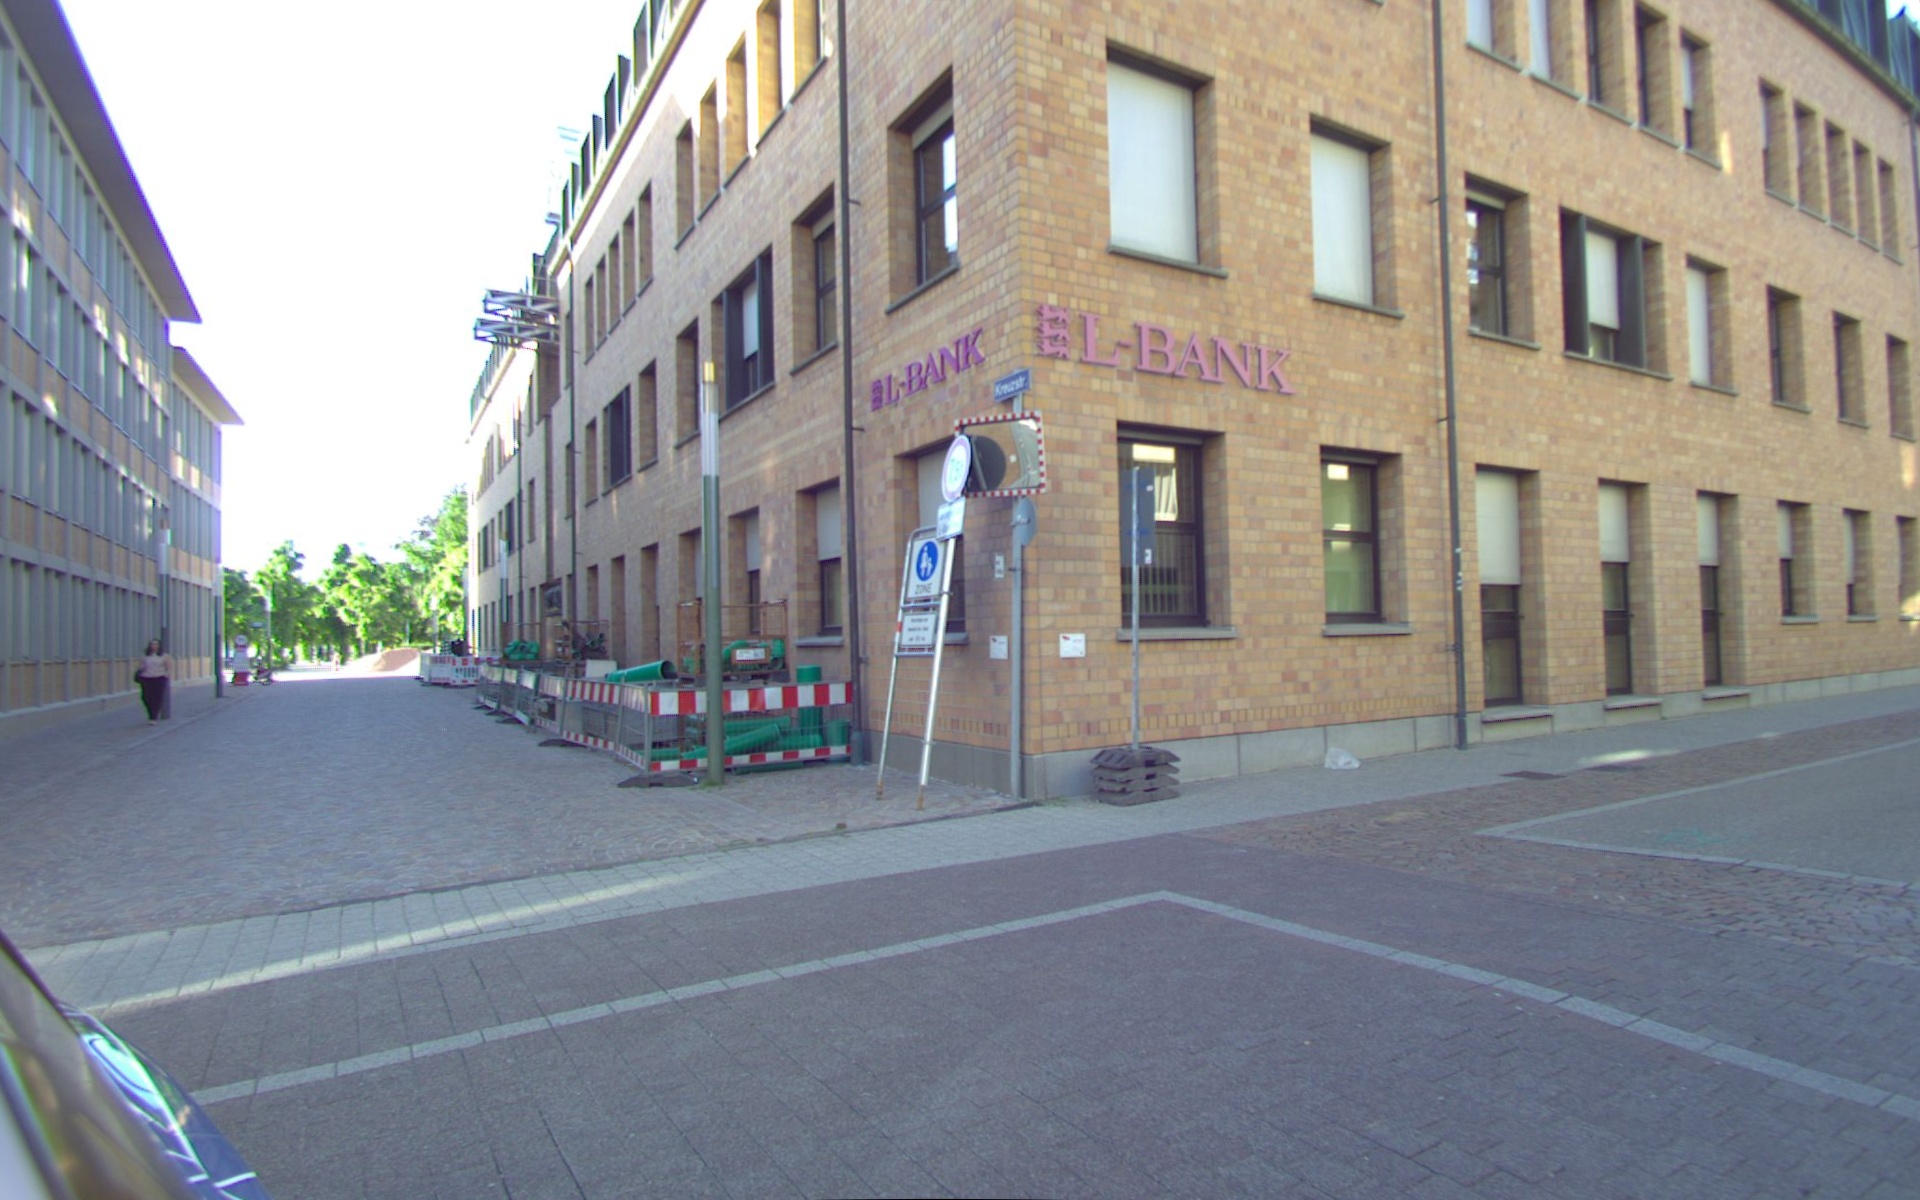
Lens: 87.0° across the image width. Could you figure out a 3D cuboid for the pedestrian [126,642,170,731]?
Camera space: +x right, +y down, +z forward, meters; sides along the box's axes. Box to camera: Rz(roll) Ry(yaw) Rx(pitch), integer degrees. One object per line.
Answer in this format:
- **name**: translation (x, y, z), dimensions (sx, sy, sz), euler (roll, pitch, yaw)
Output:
- **pedestrian**: translation (-16.994, 1.801, 21.191), dimensions (0.628, 1.799, 0.654), euler (0, -5, -31)
